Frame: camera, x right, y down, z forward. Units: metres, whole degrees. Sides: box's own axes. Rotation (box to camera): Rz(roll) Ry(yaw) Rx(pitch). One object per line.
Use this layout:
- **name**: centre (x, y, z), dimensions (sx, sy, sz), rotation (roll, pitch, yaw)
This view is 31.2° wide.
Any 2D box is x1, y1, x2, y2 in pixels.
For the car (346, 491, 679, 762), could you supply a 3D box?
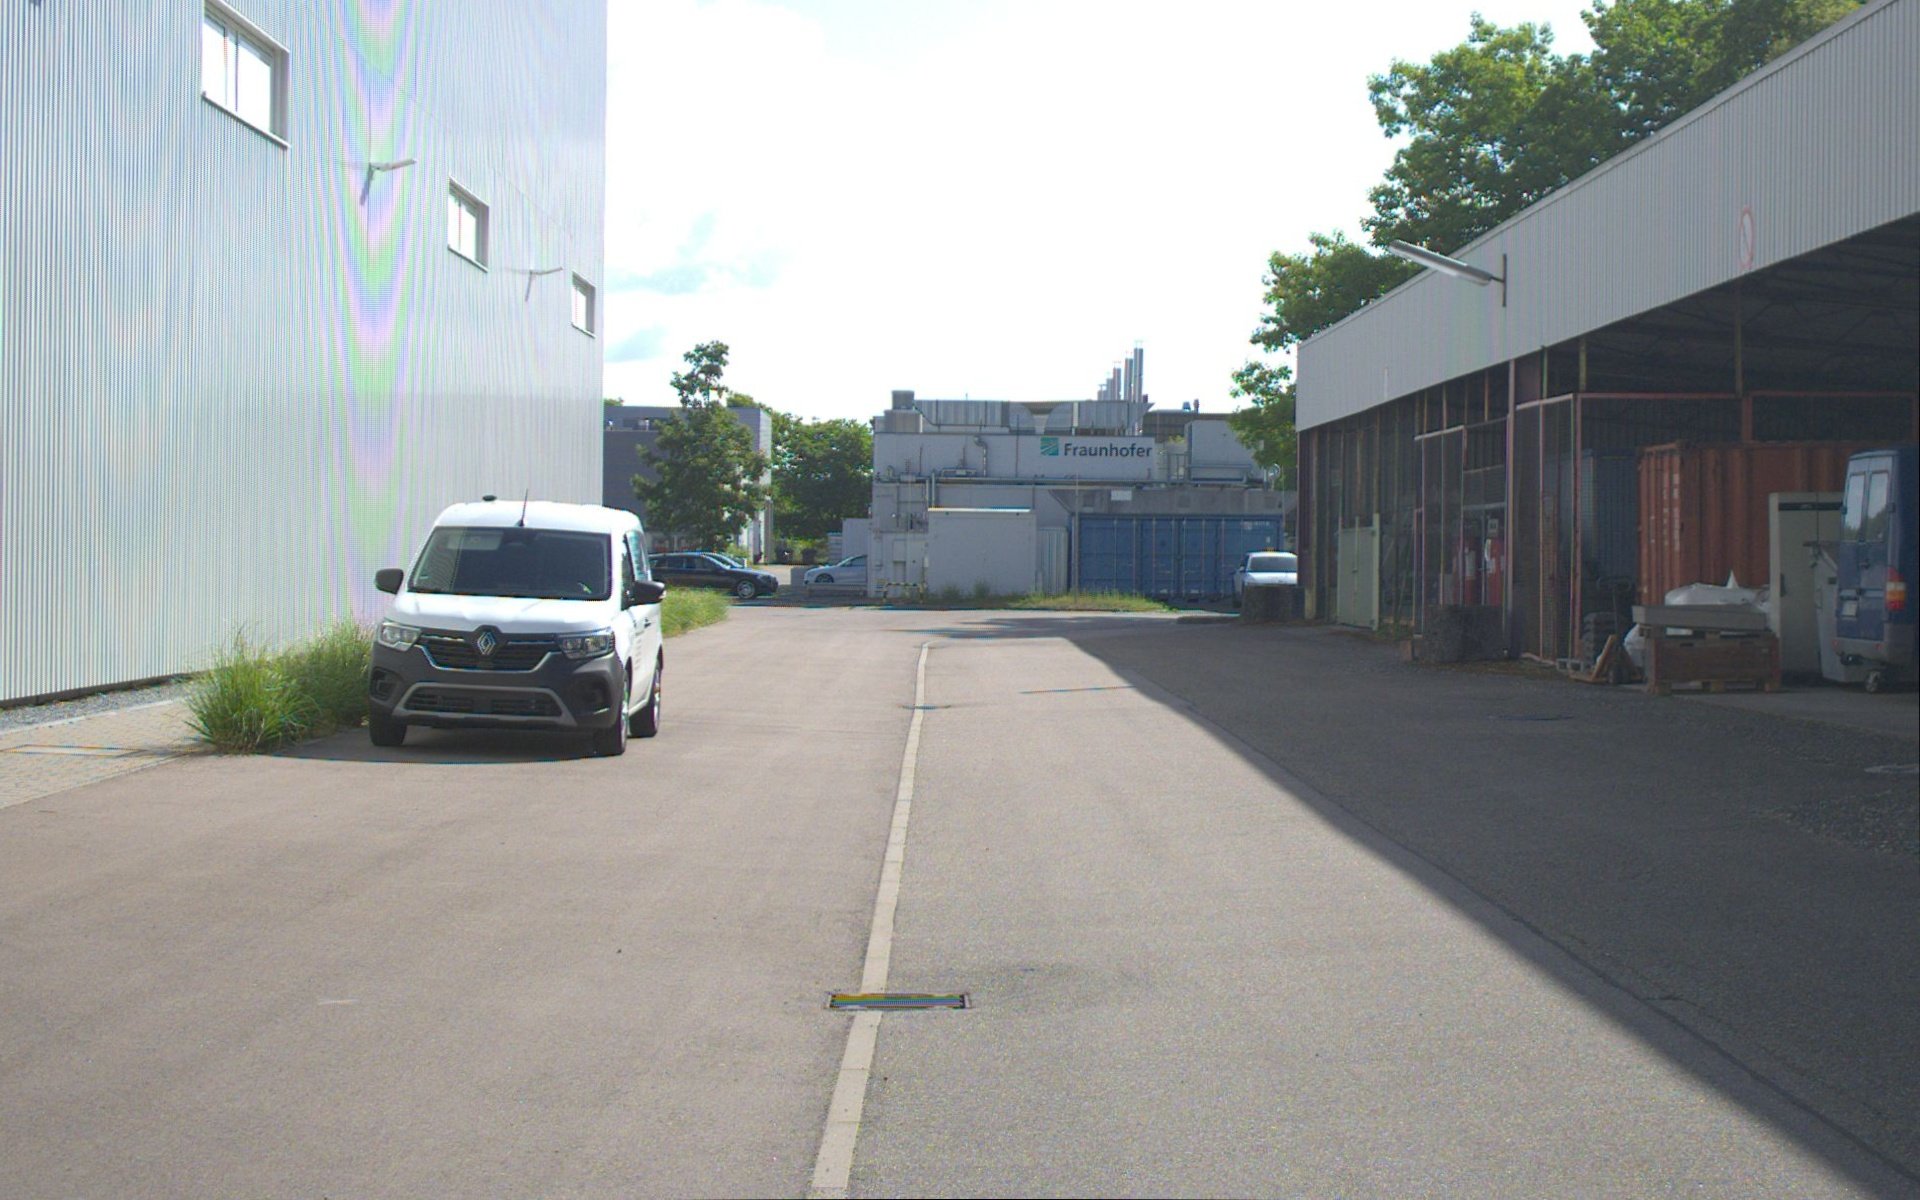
- **car**: centre (-3.223, 0.134, 25.574), dimensions (1.818, 1.781, 4.405), rotation (2, 1, 0)

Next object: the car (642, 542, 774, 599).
- **car**: centre (-7.897, -0.931, 107.809), dimensions (3.987, 1.592, 1.742), rotation (2, -1, -1)

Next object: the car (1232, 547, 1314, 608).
- **car**: centre (8.661, -0.637, 95.327), dimensions (1.962, 1.559, 4.059), rotation (2, 1, 2)

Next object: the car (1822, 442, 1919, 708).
- **car**: centre (10.214, -0.130, 30.844), dimensions (4.433, 2.302, 1.915), rotation (2, -1, 1)

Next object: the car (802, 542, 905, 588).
- **car**: centre (-4.192, -1.375, 135.673), dimensions (3.987, 1.592, 1.848), rotation (2, -1, -1)
